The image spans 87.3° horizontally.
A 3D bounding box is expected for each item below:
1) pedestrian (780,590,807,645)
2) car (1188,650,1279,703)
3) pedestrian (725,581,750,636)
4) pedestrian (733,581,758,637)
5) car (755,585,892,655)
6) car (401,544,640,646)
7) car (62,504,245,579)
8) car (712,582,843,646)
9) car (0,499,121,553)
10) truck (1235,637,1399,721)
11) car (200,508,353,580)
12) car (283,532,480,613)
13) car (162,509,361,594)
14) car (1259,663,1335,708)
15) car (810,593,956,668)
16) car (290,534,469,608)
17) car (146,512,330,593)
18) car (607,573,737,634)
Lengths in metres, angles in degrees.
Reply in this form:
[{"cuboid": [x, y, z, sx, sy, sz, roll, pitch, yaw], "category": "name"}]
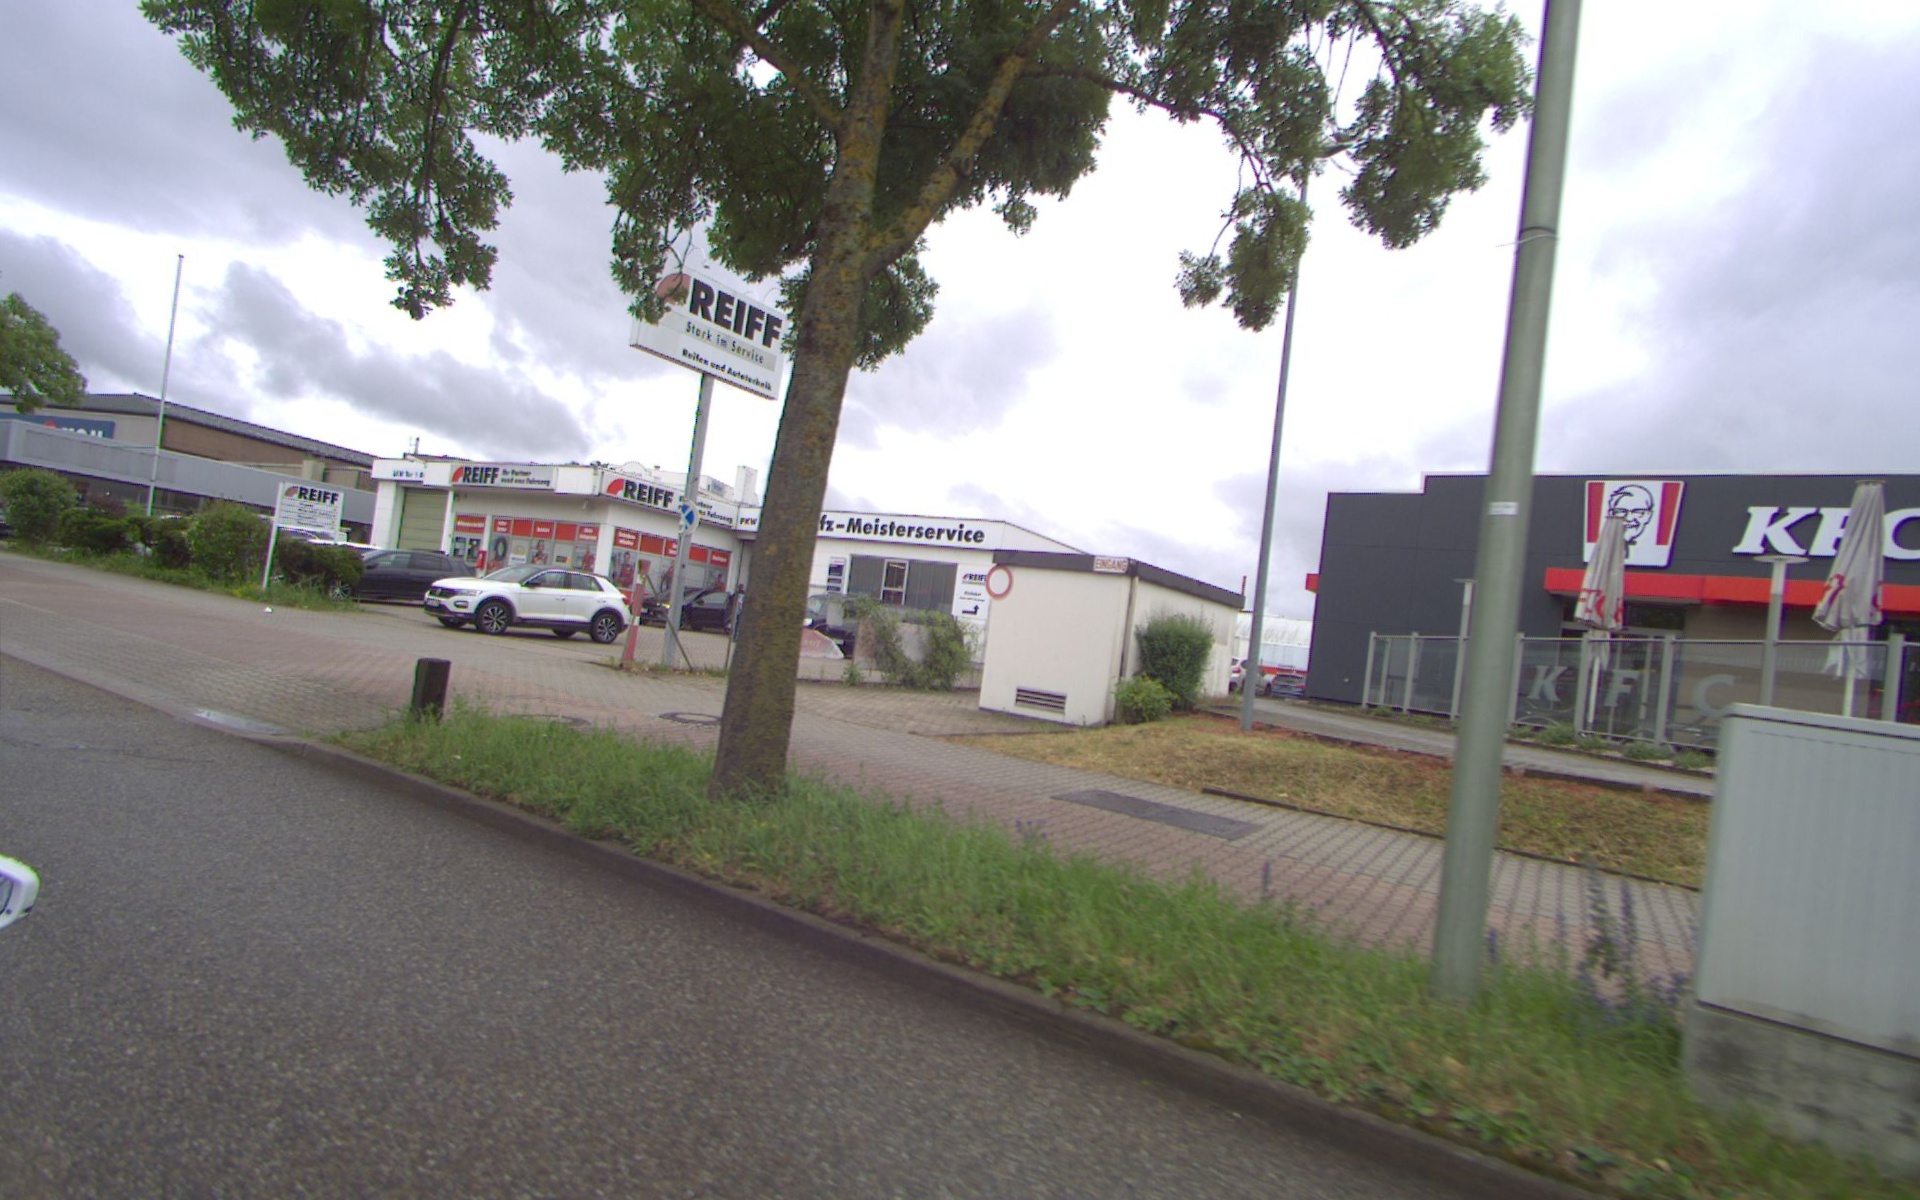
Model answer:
[{"cuboid": [-5.698, 0.593, 34.407, 0.496, 1.806, 0.515, 6, -1, 34], "category": "pedestrian"}, {"cuboid": [10.326, 2.914, 37.824, 1.874, 1.619, 3.858, 6, -2, 38], "category": "car"}, {"cuboid": [-7.212, 0.291, 32.580, 0.506, 1.725, 0.439, 6, -1, 3], "category": "pedestrian"}, {"cuboid": [-7.159, 0.286, 33.599, 0.509, 1.806, 0.436, 6, -1, 44], "category": "pedestrian"}, {"cuboid": [-4.110, 0.663, 30.812, 1.925, 1.700, 3.993, 6, -1, 32], "category": "car"}, {"cuboid": [-9.196, -0.046, 21.362, 1.860, 1.570, 4.177, 6, -2, 36], "category": "car"}, {"cuboid": [-23.917, -1.708, 29.913, 4.042, 1.616, 1.961, 8, -1, -42], "category": "car"}, {"cuboid": [-5.693, 0.482, 31.829, 1.746, 1.598, 3.993, 6, -1, 32], "category": "car"}, {"cuboid": [-33.044, -2.706, 36.382, 1.763, 1.481, 3.686, 6, -1, 29], "category": "car"}, {"cuboid": [19.957, 4.390, 56.462, 8.031, 3.566, 2.279, 6, -3, 31], "category": "truck"}, {"cuboid": [-27.801, -2.233, 41.097, 1.930, 2.175, 4.666, 7, -2, 27], "category": "car"}, {"cuboid": [-14.854, -0.676, 25.980, 1.695, 1.540, 3.981, 6, -1, 42], "category": "car"}, {"cuboid": [-19.263, -1.313, 27.866, 1.796, 1.683, 4.135, 9, 0, 43], "category": "car"}, {"cuboid": [14.800, 3.771, 44.026, 1.874, 1.619, 3.858, 6, -2, 38], "category": "car"}, {"cuboid": [-2.149, 0.922, 29.110, 1.927, 1.699, 3.989, 6, -2, 36], "category": "car"}, {"cuboid": [-16.262, -0.784, 28.317, 1.709, 1.541, 3.922, 6, -1, 42], "category": "car"}, {"cuboid": [-20.890, -1.365, 29.214, 4.124, 1.683, 1.801, 8, 0, -39], "category": "car"}, {"cuboid": [-9.393, 0.155, 33.089, 1.757, 1.495, 3.856, 6, -3, 29], "category": "car"}]
